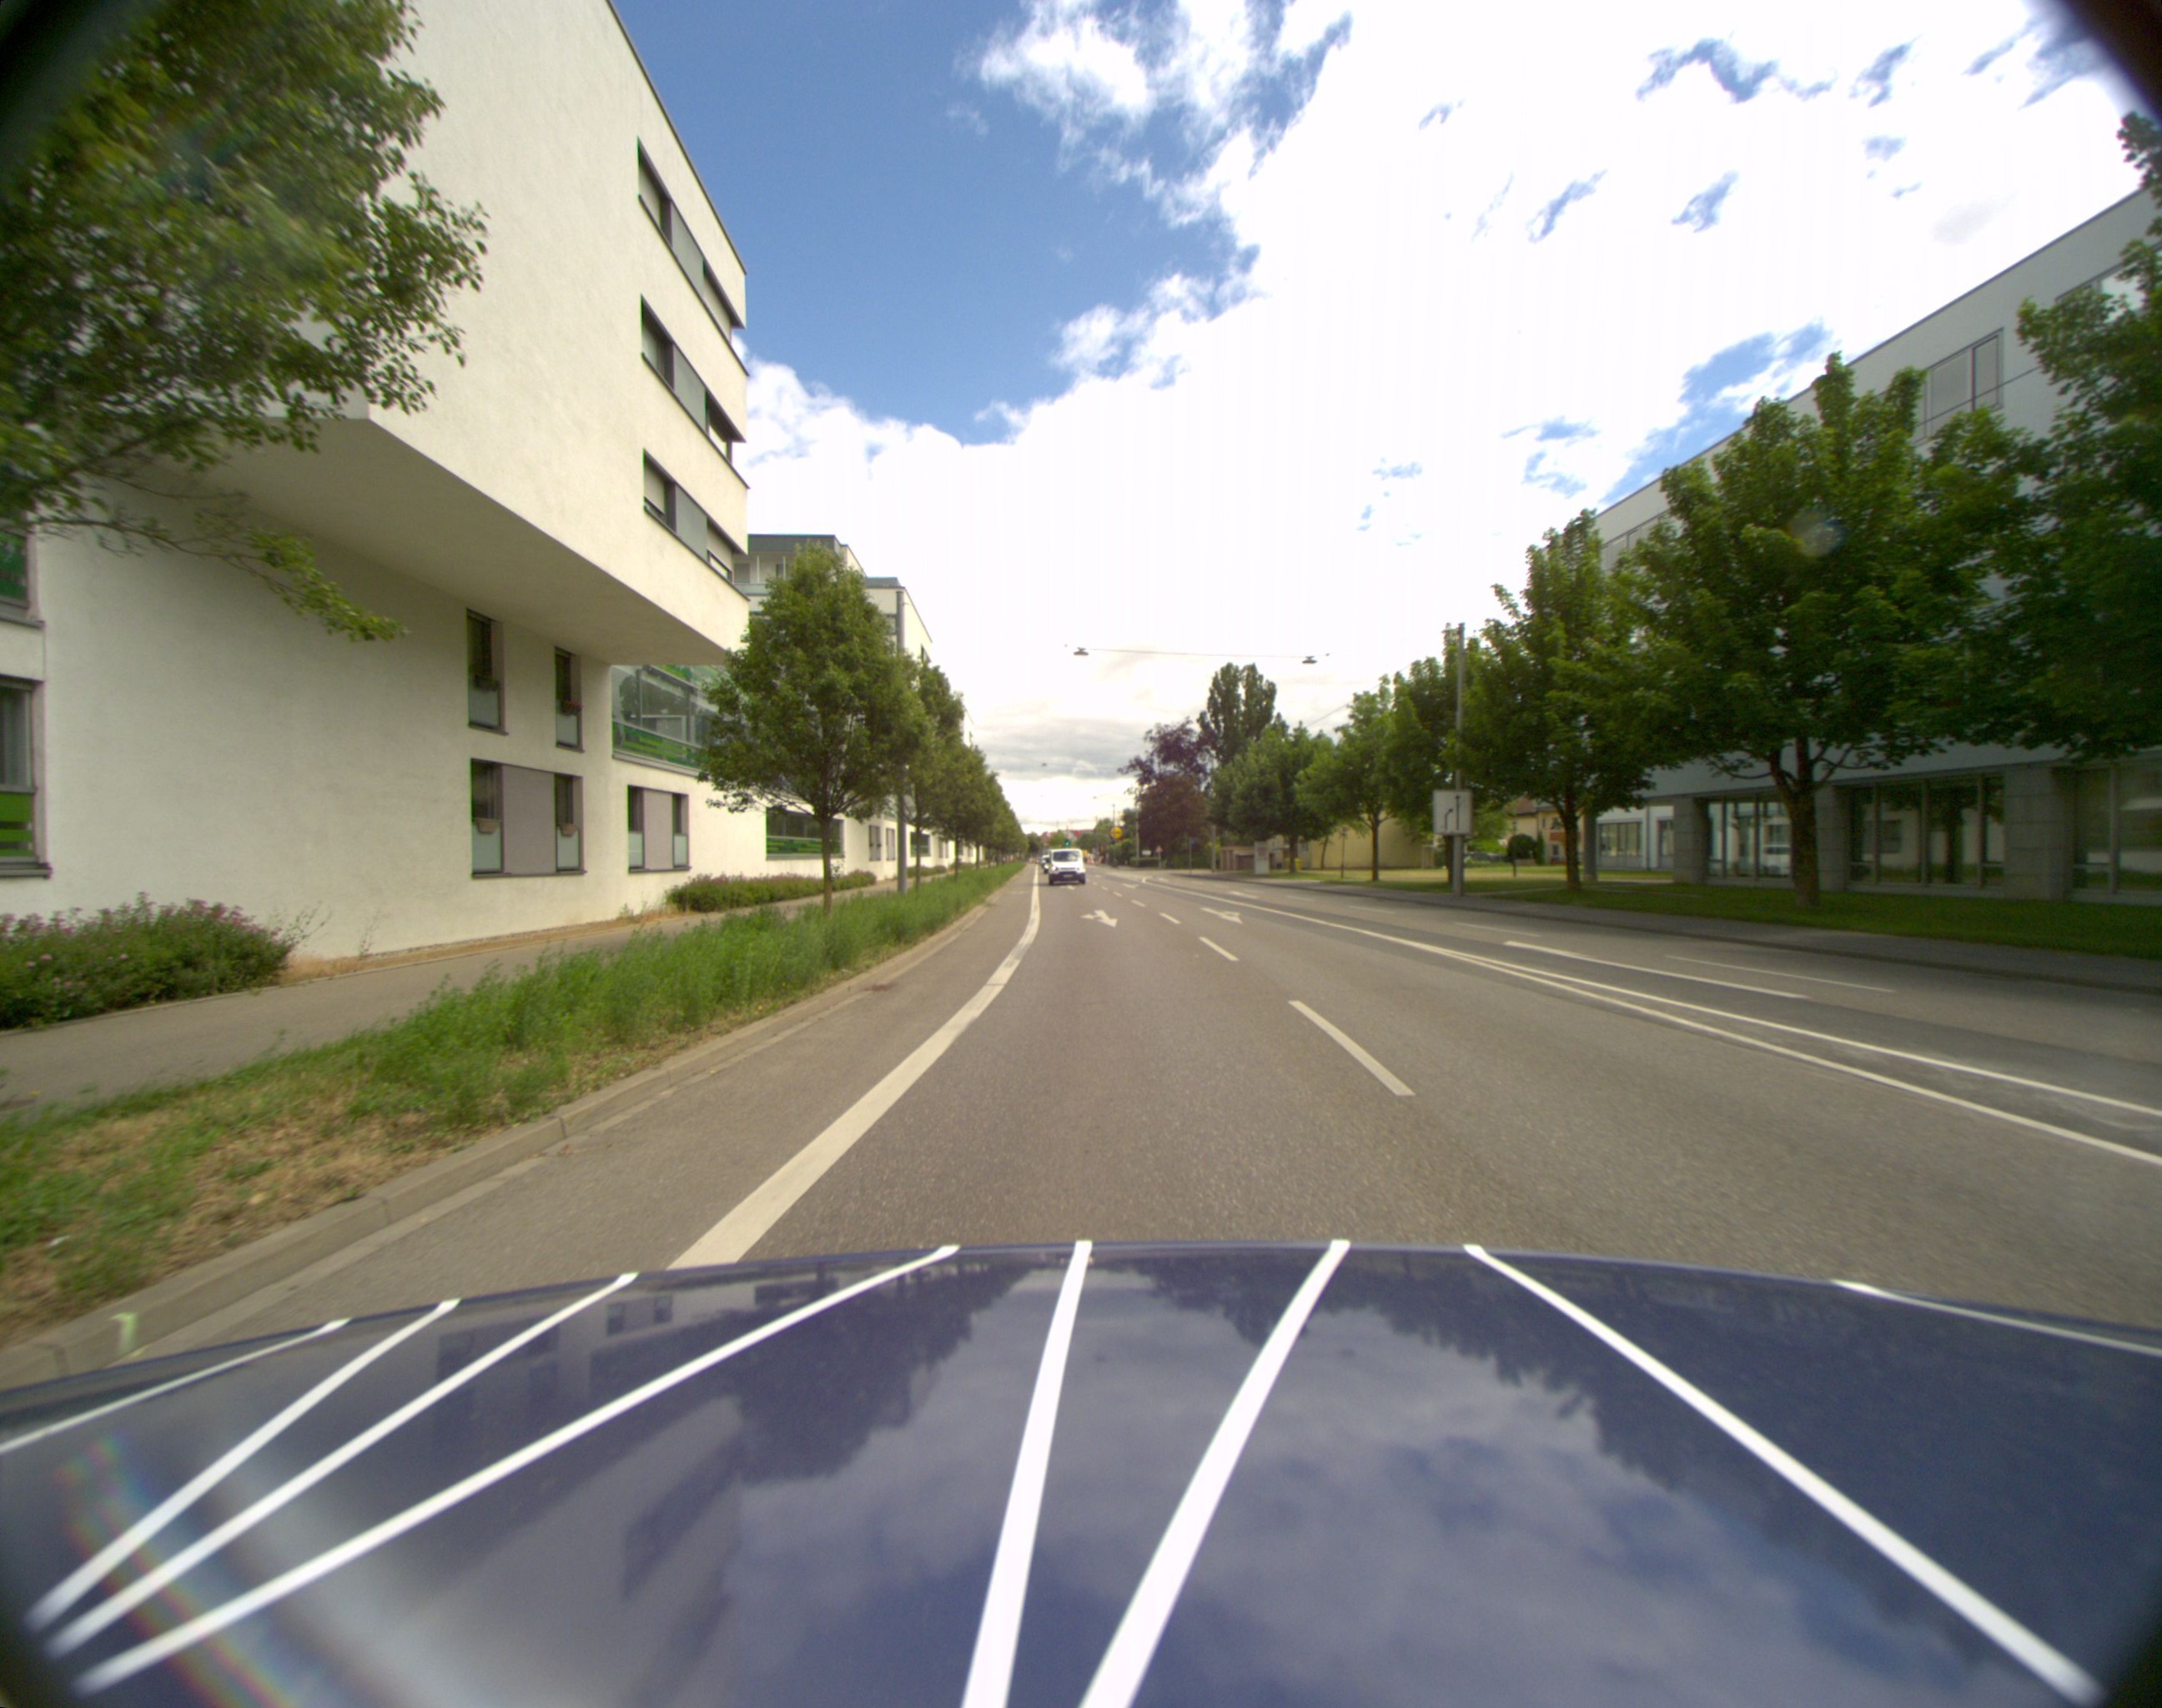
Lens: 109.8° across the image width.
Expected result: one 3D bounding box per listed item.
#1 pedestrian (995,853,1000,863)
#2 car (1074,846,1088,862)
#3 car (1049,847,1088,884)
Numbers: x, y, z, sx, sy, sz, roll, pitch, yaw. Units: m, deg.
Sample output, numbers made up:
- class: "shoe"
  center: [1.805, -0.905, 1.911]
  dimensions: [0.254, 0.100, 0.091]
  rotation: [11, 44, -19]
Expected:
- class: "pedestrian"
  center: [-14.945, 0.716, 136.267]
  dimensions: [0.621, 1.830, 0.587]
  rotation: [-3, 2, -30]
- class: "car"
  center: [-0.010, 0.013, 140.730]
  dimensions: [2.150, 2.803, 6.146]
  rotation: [1, 0, -4]
- class: "car"
  center: [-0.742, 0.589, 42.773]
  dimensions: [1.999, 1.905, 3.998]
  rotation: [-1, 1, -4]
